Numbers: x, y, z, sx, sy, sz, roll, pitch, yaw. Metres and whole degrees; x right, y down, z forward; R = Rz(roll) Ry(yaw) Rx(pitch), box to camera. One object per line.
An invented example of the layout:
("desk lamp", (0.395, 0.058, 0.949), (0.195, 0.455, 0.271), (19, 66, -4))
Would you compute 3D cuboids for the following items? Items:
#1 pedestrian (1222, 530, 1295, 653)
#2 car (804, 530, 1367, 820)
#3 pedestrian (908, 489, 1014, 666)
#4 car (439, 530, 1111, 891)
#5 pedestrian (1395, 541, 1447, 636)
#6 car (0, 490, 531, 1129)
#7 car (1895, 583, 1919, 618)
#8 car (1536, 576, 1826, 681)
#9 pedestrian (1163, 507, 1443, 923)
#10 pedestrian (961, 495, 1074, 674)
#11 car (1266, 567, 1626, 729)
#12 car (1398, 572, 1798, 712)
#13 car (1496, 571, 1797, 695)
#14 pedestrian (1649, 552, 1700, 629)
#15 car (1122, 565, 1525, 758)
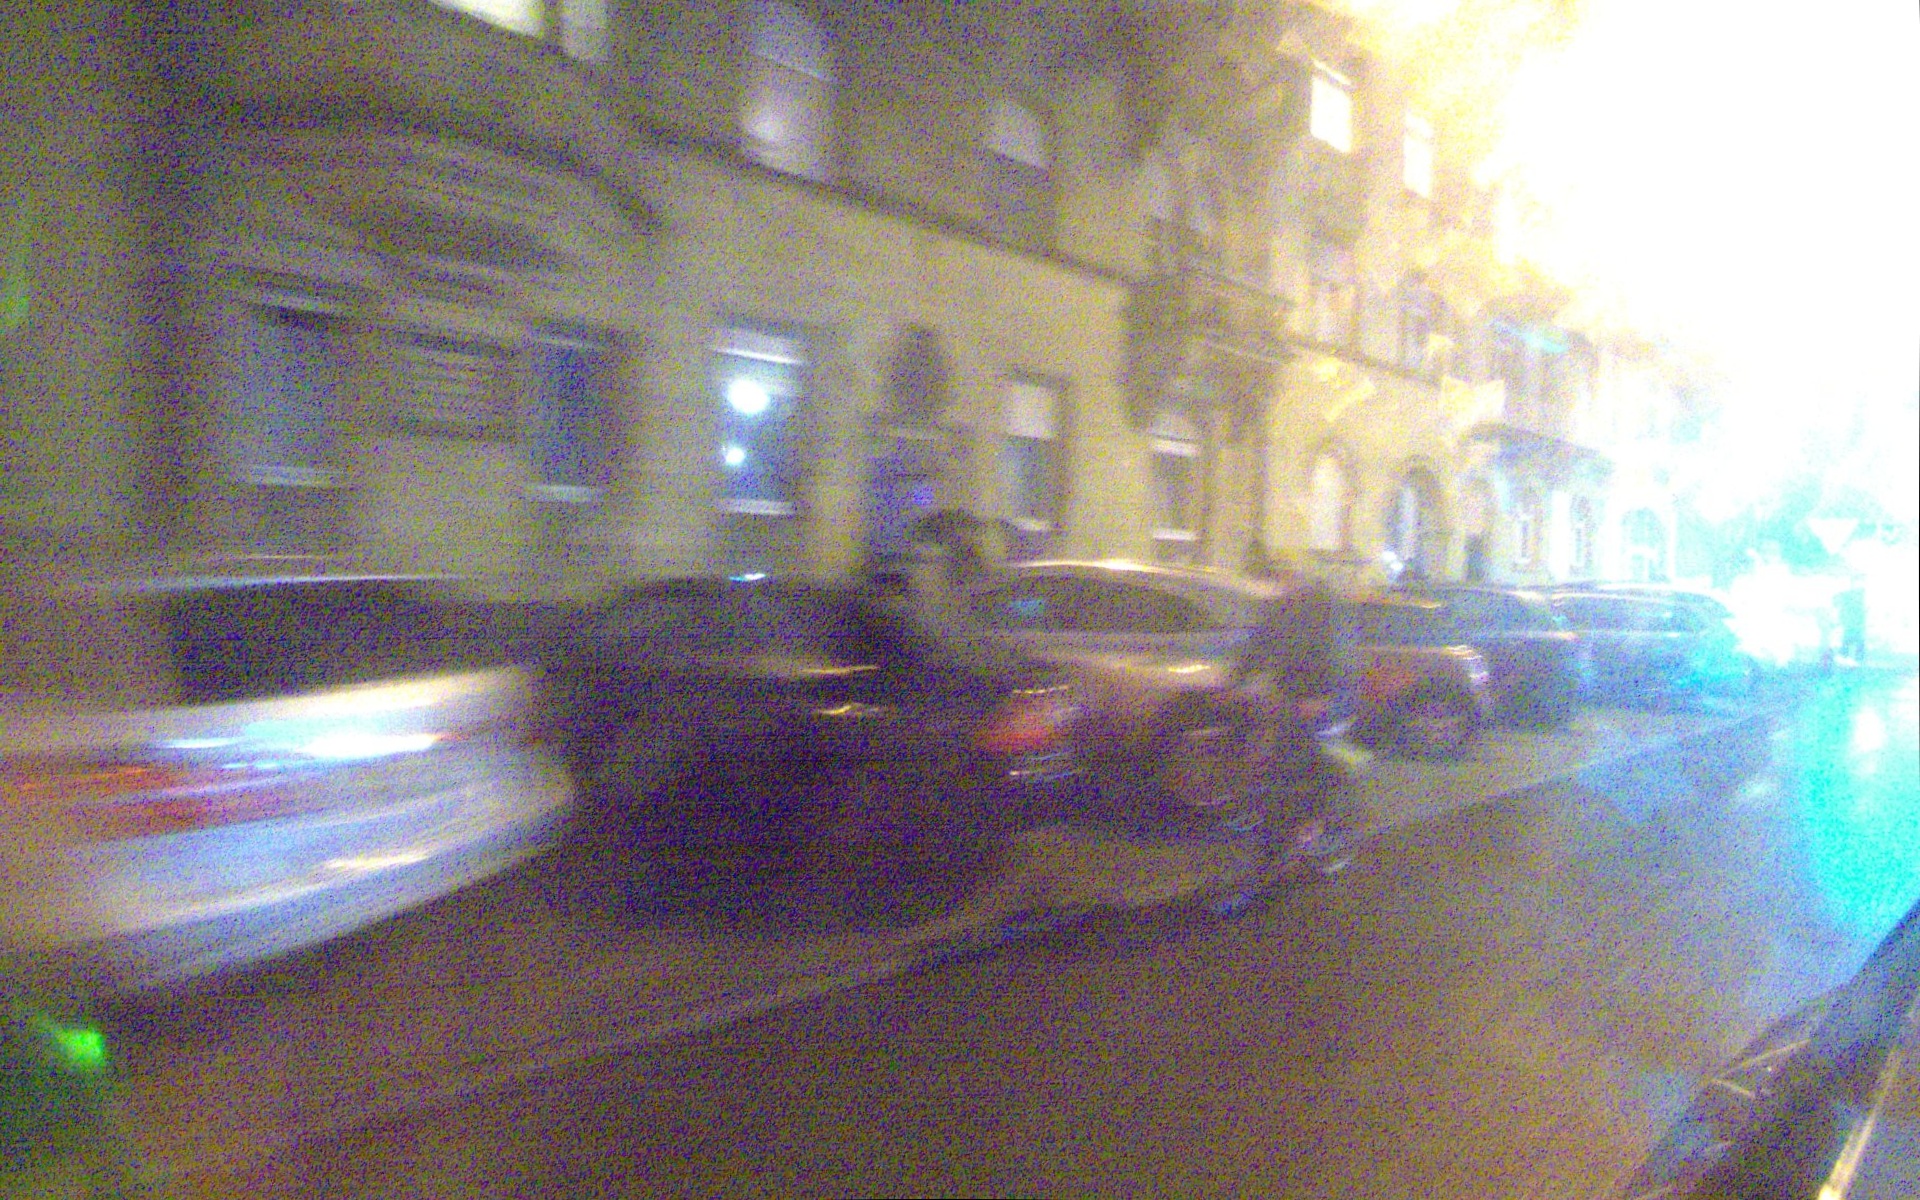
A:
("pedestrian", (4.516, -0.128, 15.308), (0.769, 1.812, 0.657), (3, 1, -40))
("car", (0.944, 0.380, 7.520), (3.756, 1.710, 1.824), (2, 1, 21))
("pedestrian", (0.009, -0.247, 11.539), (0.828, 1.928, 0.747), (3, 1, -40))
("car", (-0.918, 0.446, 5.659), (3.346, 1.580, 1.588), (1, 1, 14))
("pedestrian", (8.466, -0.216, 18.593), (0.590, 1.685, 0.575), (3, 1, -40))
("car", (-3.579, 0.461, 3.727), (3.461, 1.580, 1.587), (1, 1, 15))
("car", (40.864, 0.072, 41.583), (1.600, 1.443, 4.192), (1, 2, 12))
("car", (11.993, 0.414, 17.086), (3.546, 1.580, 1.706), (1, 1, 12))
("pedestrian", (1.716, 0.486, 5.047), (1.157, 1.792, 0.824), (0, 1, -40))
("pedestrian", (0.626, -0.165, 11.050), (0.855, 1.864, 0.747), (3, 1, -40))
("car", (5.301, 0.450, 11.524), (3.435, 1.580, 1.628), (1, 1, 17))
("car", (8.124, 0.467, 13.279), (4.053, 1.510, 1.589), (3, 2, 13))
("car", (10.221, 0.426, 15.330), (3.348, 1.612, 1.588), (3, 2, 15))
("pedestrian", (18.748, -0.248, 26.564), (0.868, 1.930, 0.806), (3, 1, -40))
("car", (3.331, 0.487, 9.778), (3.347, 1.580, 1.632), (1, 1, 15))
